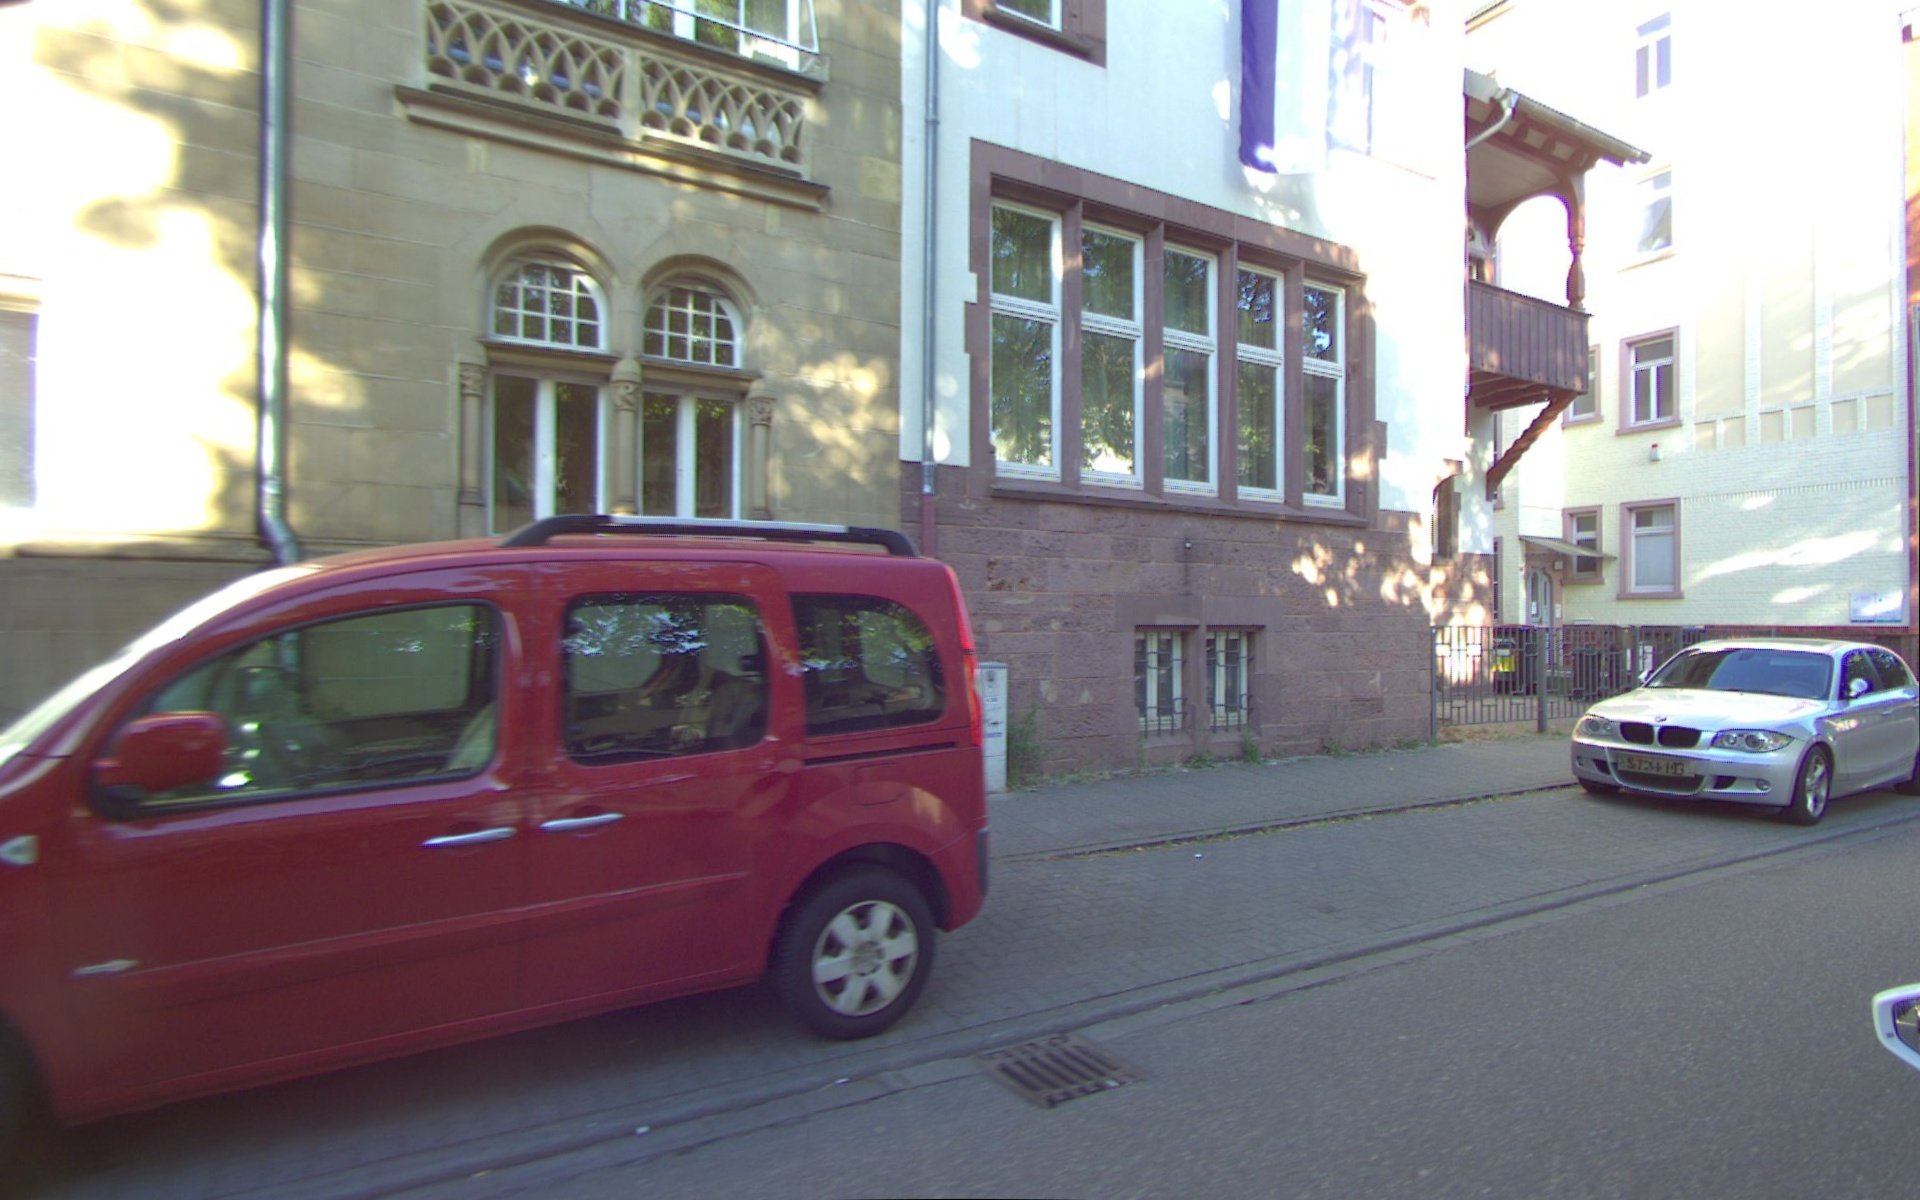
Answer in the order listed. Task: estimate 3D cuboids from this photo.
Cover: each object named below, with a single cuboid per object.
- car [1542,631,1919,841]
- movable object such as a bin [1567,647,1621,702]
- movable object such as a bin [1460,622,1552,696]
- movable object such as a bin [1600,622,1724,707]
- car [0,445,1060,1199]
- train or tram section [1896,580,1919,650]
[{"bbox_3d":[7.219,1.035,9.066,4.058,1.486,1.734,1,-1,-32],"label":"car"},{"bbox_3d":[10.761,1.251,17.048,0.662,0.890,0.480,1,-1,-20],"label":"movable object such as a bin"},{"bbox_3d":[10.290,1.082,18.964,0.680,1.335,1.370,1,-1,-36],"label":"movable object such as a bin"},{"bbox_3d":[11.518,1.028,16.522,0.954,1.316,1.374,1,-1,-20],"label":"movable object such as a bin"},{"bbox_3d":[-1.905,0.612,3.644,4.273,1.932,1.790,1,0,-30],"label":"car"},{"bbox_3d":[48.333,0.782,45.530,8.313,3.220,2.849,1,0,38],"label":"train or tram section"}]
